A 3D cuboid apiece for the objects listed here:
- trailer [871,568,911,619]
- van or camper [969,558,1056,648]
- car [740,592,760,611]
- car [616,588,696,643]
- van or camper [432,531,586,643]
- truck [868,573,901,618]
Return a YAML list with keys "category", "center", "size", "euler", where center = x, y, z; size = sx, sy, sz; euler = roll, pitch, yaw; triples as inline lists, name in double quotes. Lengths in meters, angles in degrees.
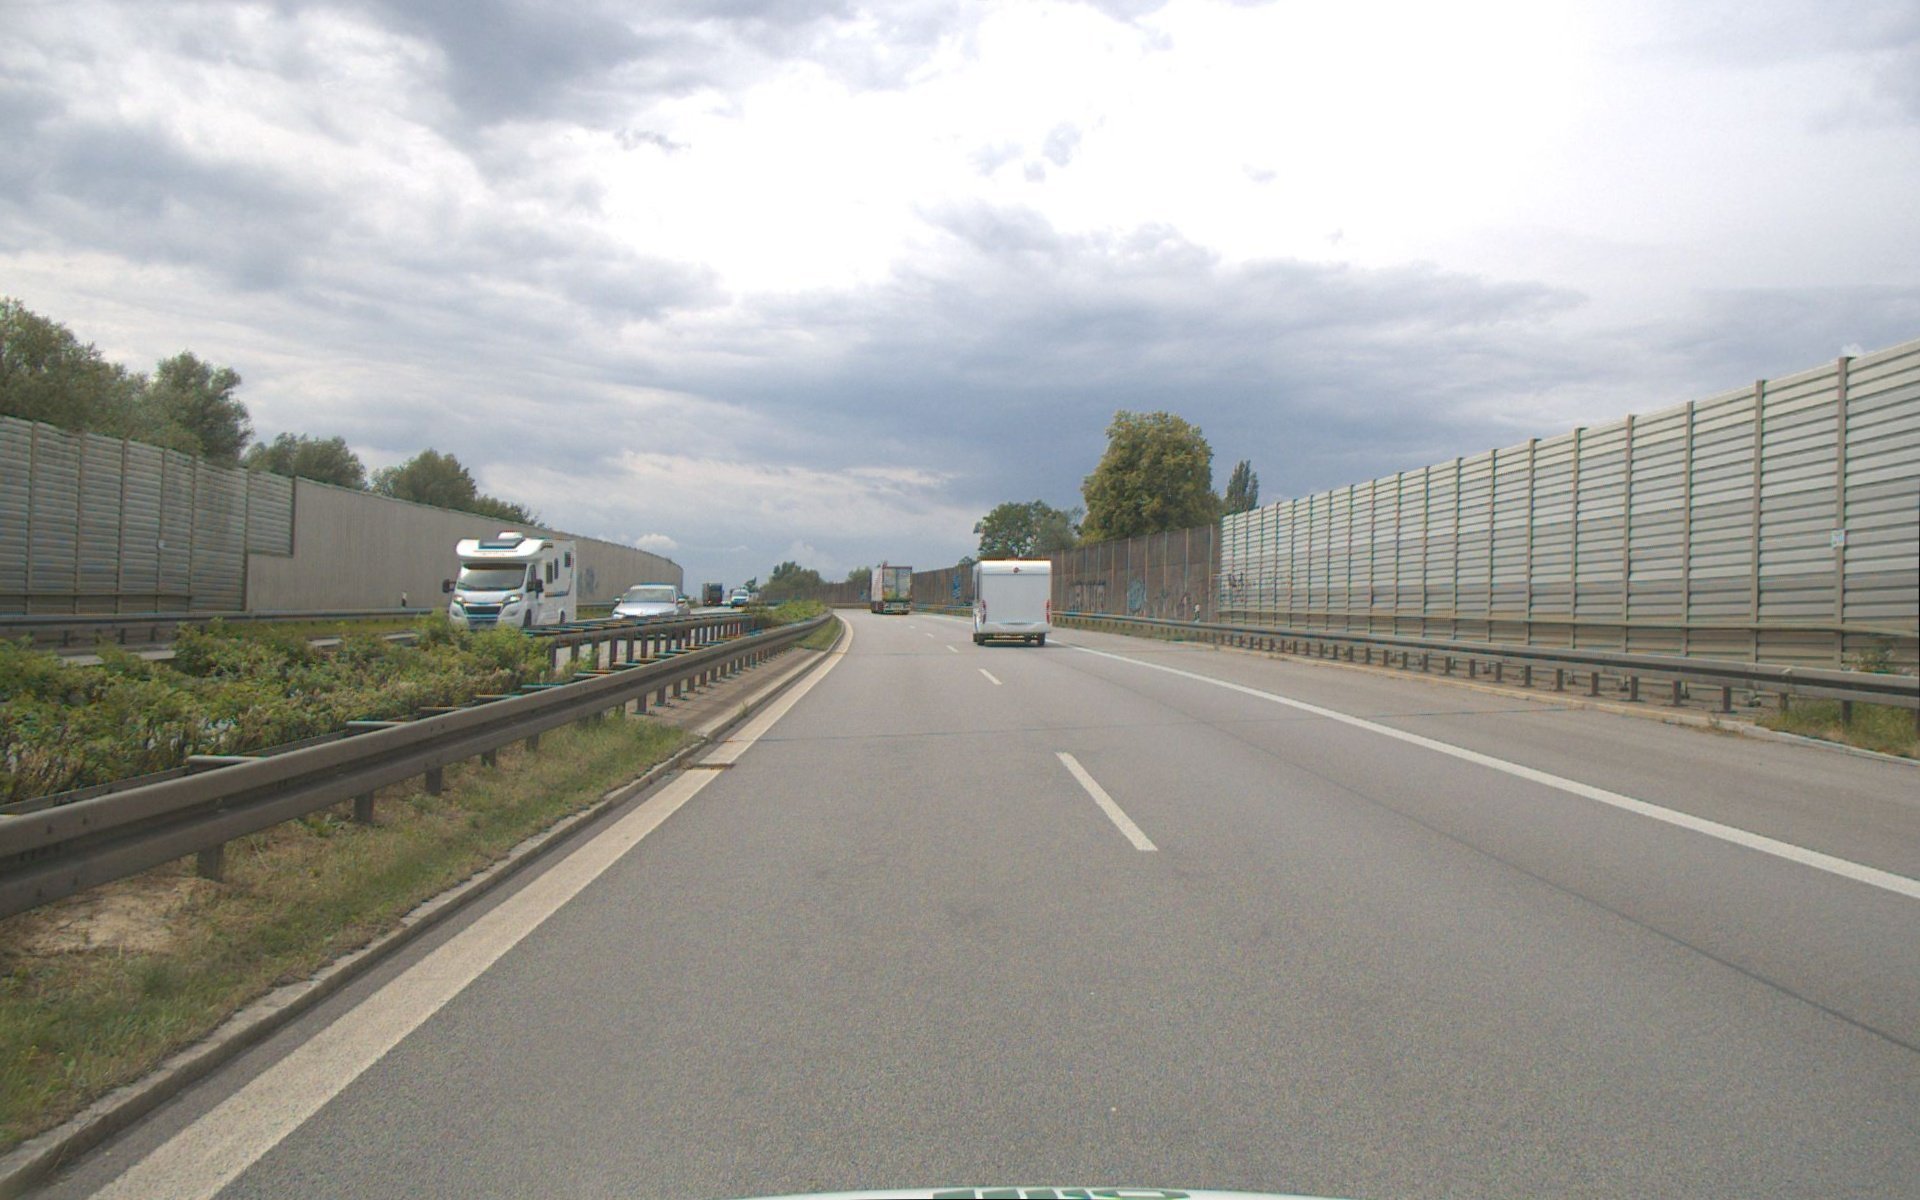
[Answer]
- category: "trailer"
  center: [-6.245, -0.429, 147.122]
  size: [2.739, 4.248, 14.084]
  euler: [0, -1, -6]
- category: "van or camper"
  center: [1.636, 0.114, 54.637]
  size: [2.380, 2.744, 7.222]
  euler: [1, 0, -2]
- category: "car"
  center: [-20.468, 0.140, 161.158]
  size: [1.707, 1.775, 4.623]
  euler: [0, 0, -5]
- category: "car"
  center: [-8.447, 0.416, 46.271]
  size: [1.659, 1.445, 4.644]
  euler: [-1, 0, -4]
- category: "van or camper"
  center: [-12.613, -0.328, 46.936]
  size: [2.416, 2.920, 7.765]
  euler: [0, 0, -2]
- category: "truck"
  center: [-7.026, -0.389, 153.720]
  size: [2.703, 4.029, 5.669]
  euler: [0, -1, -6]
